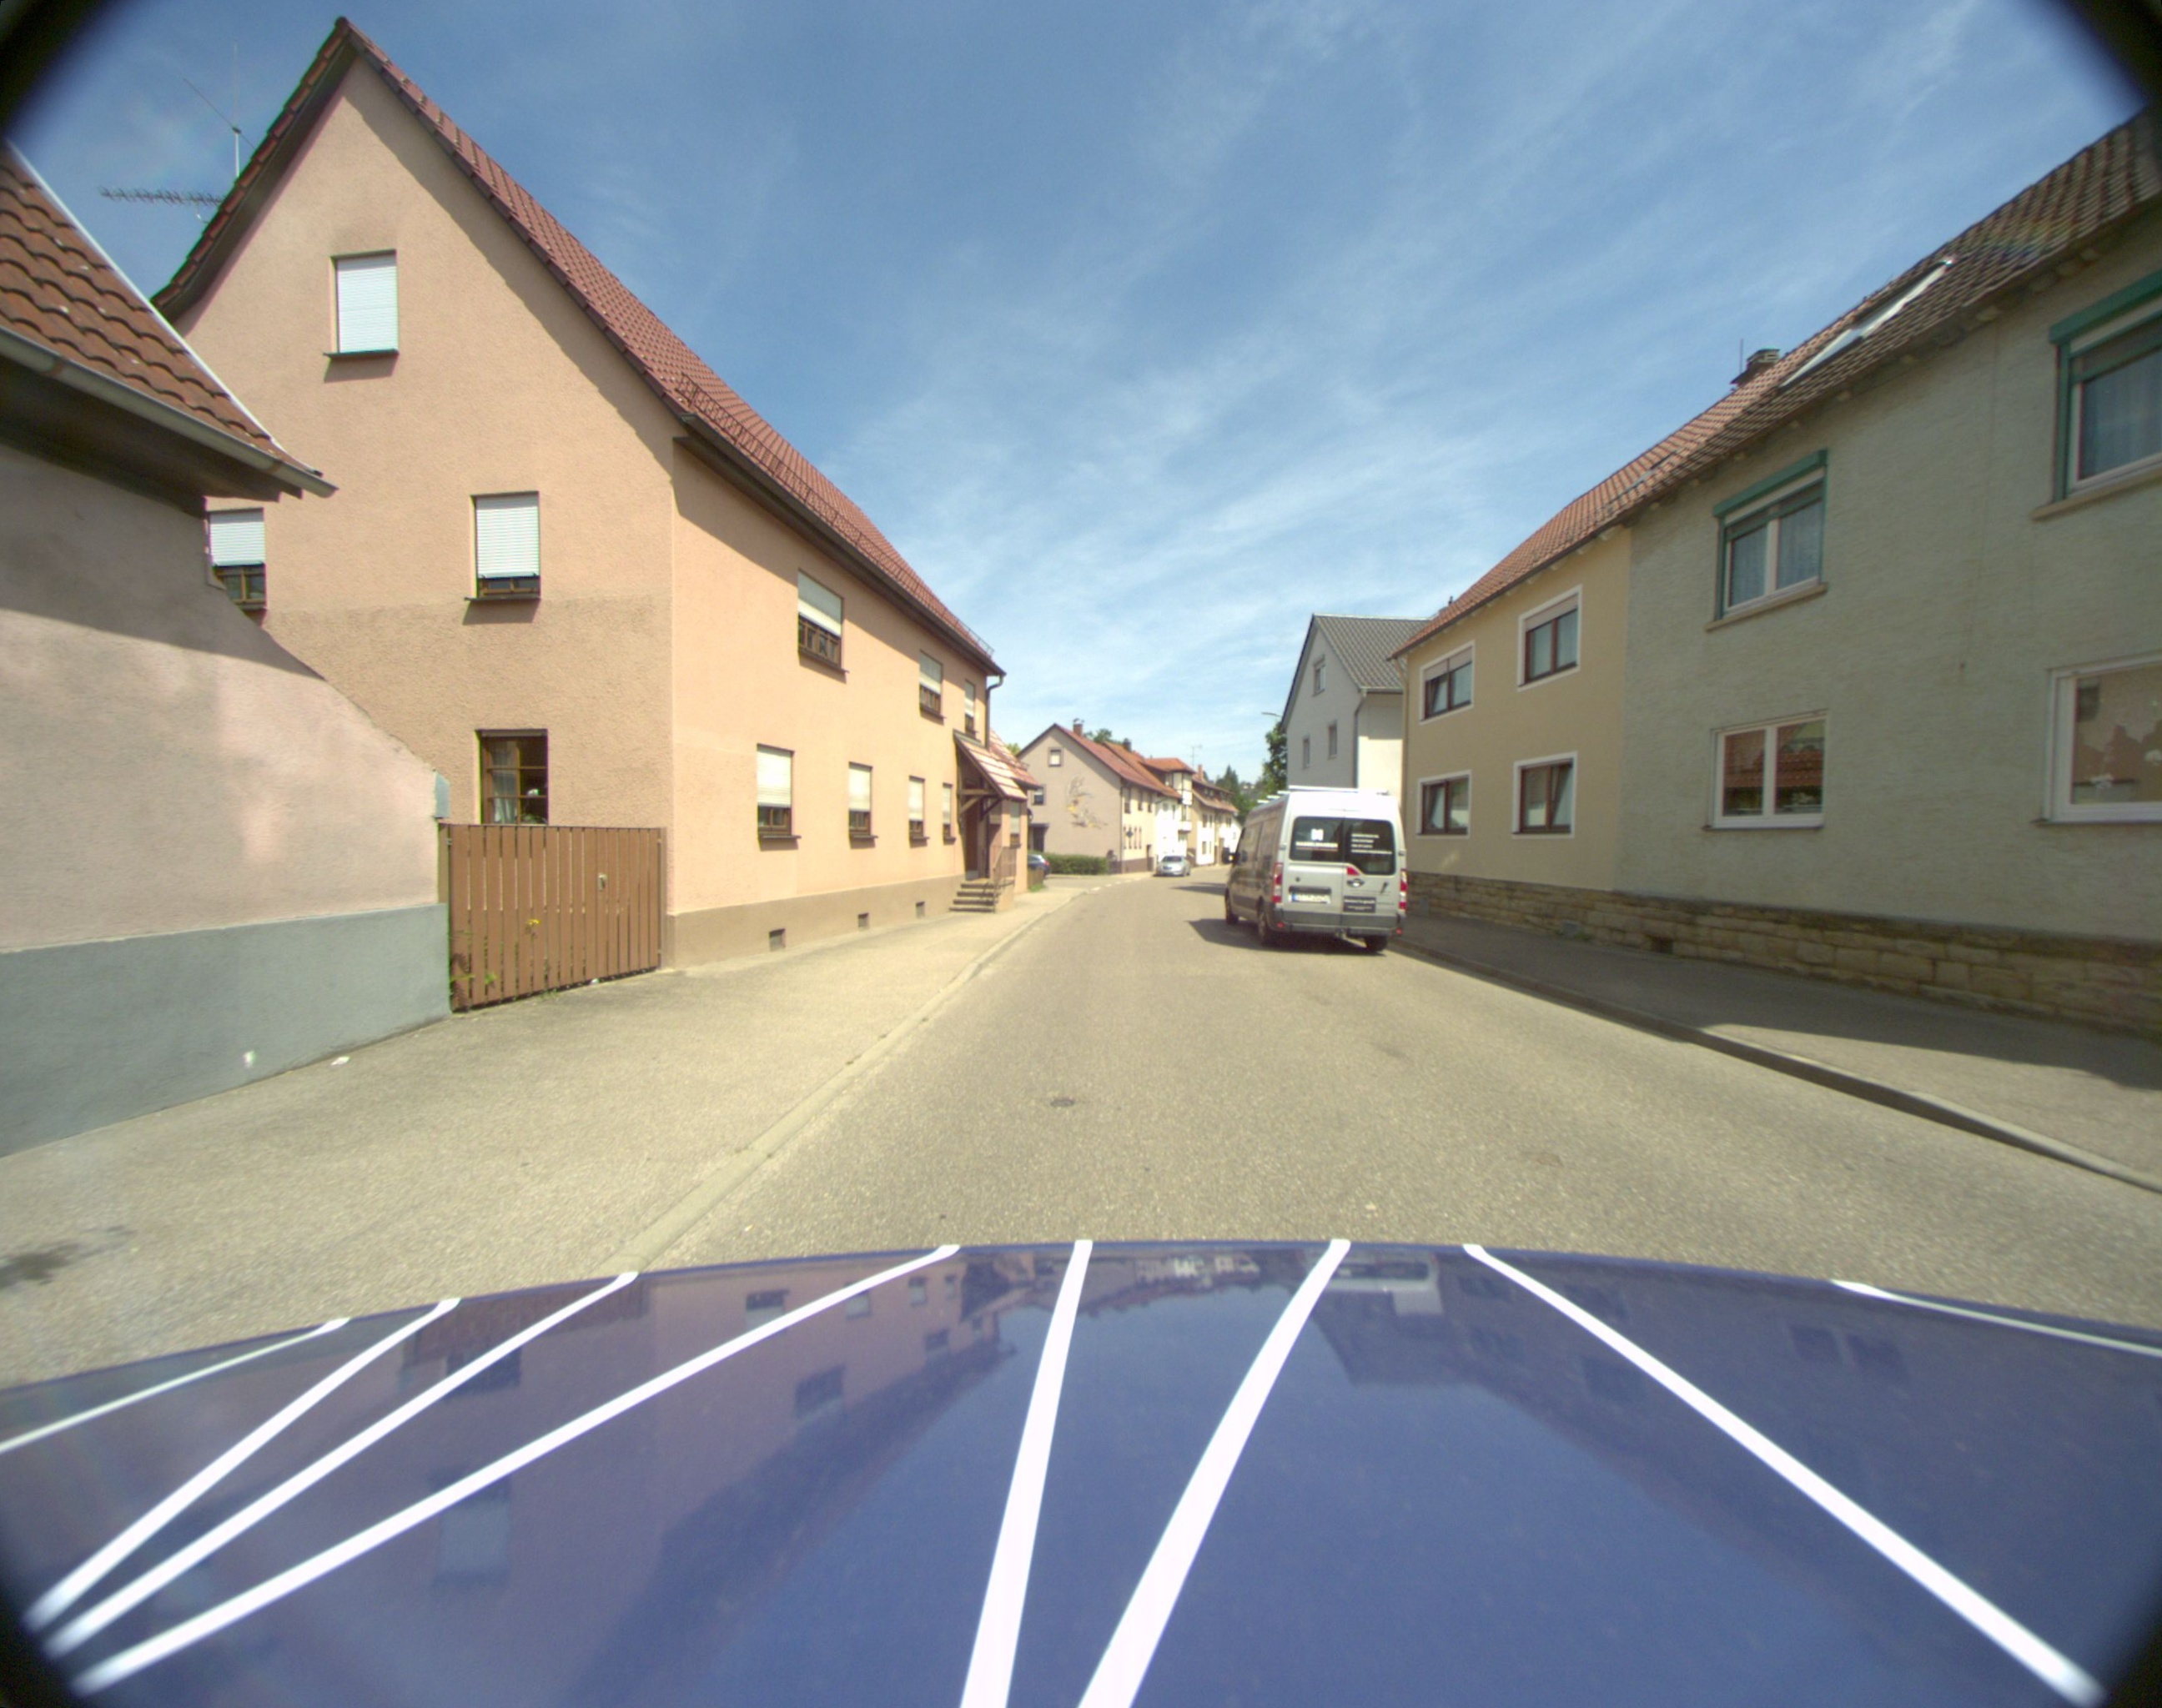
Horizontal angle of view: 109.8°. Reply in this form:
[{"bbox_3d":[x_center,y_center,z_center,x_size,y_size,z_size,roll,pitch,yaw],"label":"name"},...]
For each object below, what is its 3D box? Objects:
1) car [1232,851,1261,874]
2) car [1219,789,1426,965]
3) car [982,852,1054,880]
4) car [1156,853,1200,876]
[{"bbox_3d":[12.163,0.600,55.600,1.802,1.546,4.075,2,0,15],"label":"car"},{"bbox_3d":[4.042,0.314,14.005,2.119,2.548,5.827,1,1,2],"label":"car"},{"bbox_3d":[-3.462,0.631,42.147,3.814,1.479,1.889,0,1,-1],"label":"car"},{"bbox_3d":[6.554,0.675,50.860,1.787,1.433,4.344,0,0,23],"label":"car"}]
